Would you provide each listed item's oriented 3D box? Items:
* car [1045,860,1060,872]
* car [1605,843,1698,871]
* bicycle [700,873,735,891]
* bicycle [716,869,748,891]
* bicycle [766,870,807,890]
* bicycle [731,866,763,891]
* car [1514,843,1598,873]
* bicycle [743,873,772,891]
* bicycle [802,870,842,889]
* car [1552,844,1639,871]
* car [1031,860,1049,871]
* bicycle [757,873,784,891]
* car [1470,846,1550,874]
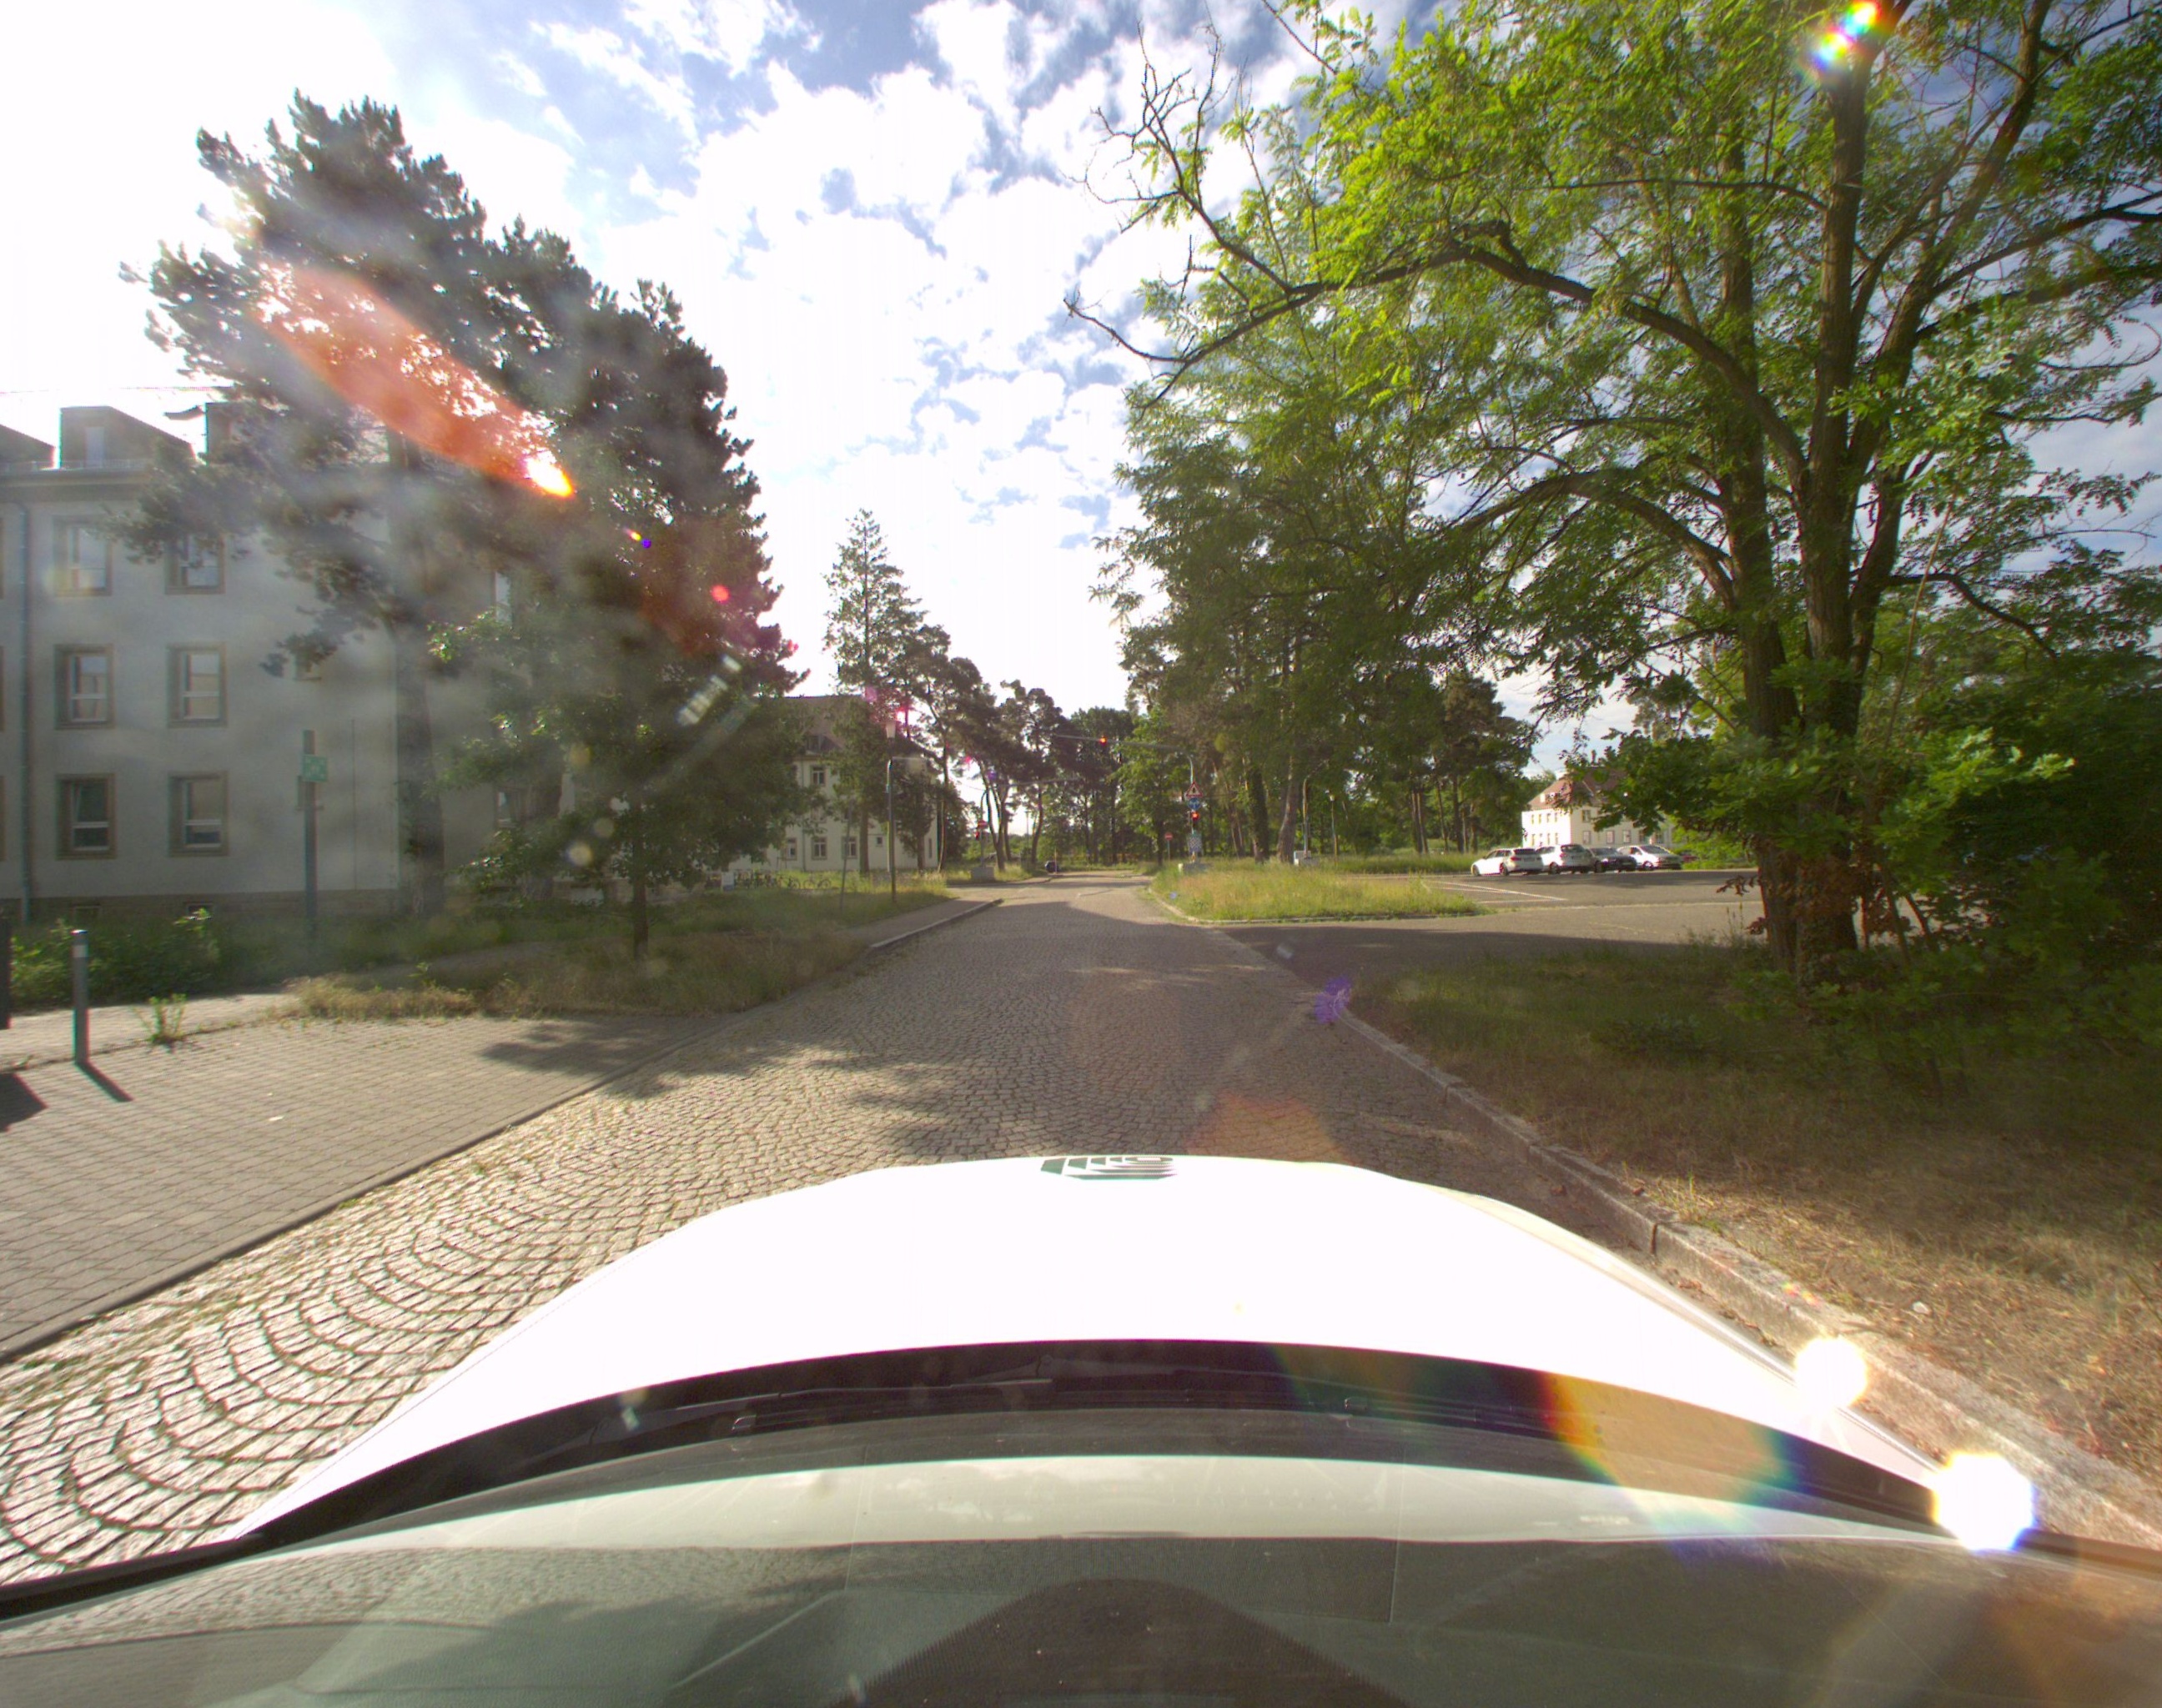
[{"bbox_3d":[-3.674,1.517,106.212,1.840,1.486,3.998,-2,0,-1],"label":"car"},{"bbox_3d":[30.053,0.163,43.086,1.726,1.312,4.328,-2,0,-2],"label":"car"},{"bbox_3d":[-22.298,1.711,50.034,0.897,1.047,2.554,-2,0,1],"label":"bicycle"},{"bbox_3d":[-21.400,1.591,50.029,0.823,1.281,2.554,-2,0,1],"label":"bicycle"},{"bbox_3d":[-17.632,1.555,48.753,2.112,1.108,0.828,-2,-1,-3],"label":"bicycle"},{"bbox_3d":[-20.624,1.499,50.325,0.823,1.437,2.554,-2,0,1],"label":"bicycle"},{"bbox_3d":[24.699,0.209,42.542,1.726,1.476,4.328,-2,0,-2],"label":"car"},{"bbox_3d":[-19.837,1.702,49.976,0.823,1.047,2.124,-2,0,1],"label":"bicycle"},{"bbox_3d":[-15.510,1.545,48.833,2.112,1.047,0.828,-2,-1,-3],"label":"bicycle"},{"bbox_3d":[27.000,0.189,42.916,1.726,1.312,4.328,-2,0,-2],"label":"car"},{"bbox_3d":[-5.588,1.578,110.979,1.772,1.490,3.764,-2,0,8],"label":"car"},{"bbox_3d":[-19.055,1.699,50.014,0.823,1.047,2.124,-2,0,1],"label":"bicycle"},{"bbox_3d":[22.180,0.304,42.252,1.726,1.312,4.328,-2,0,-2],"label":"car"}]
